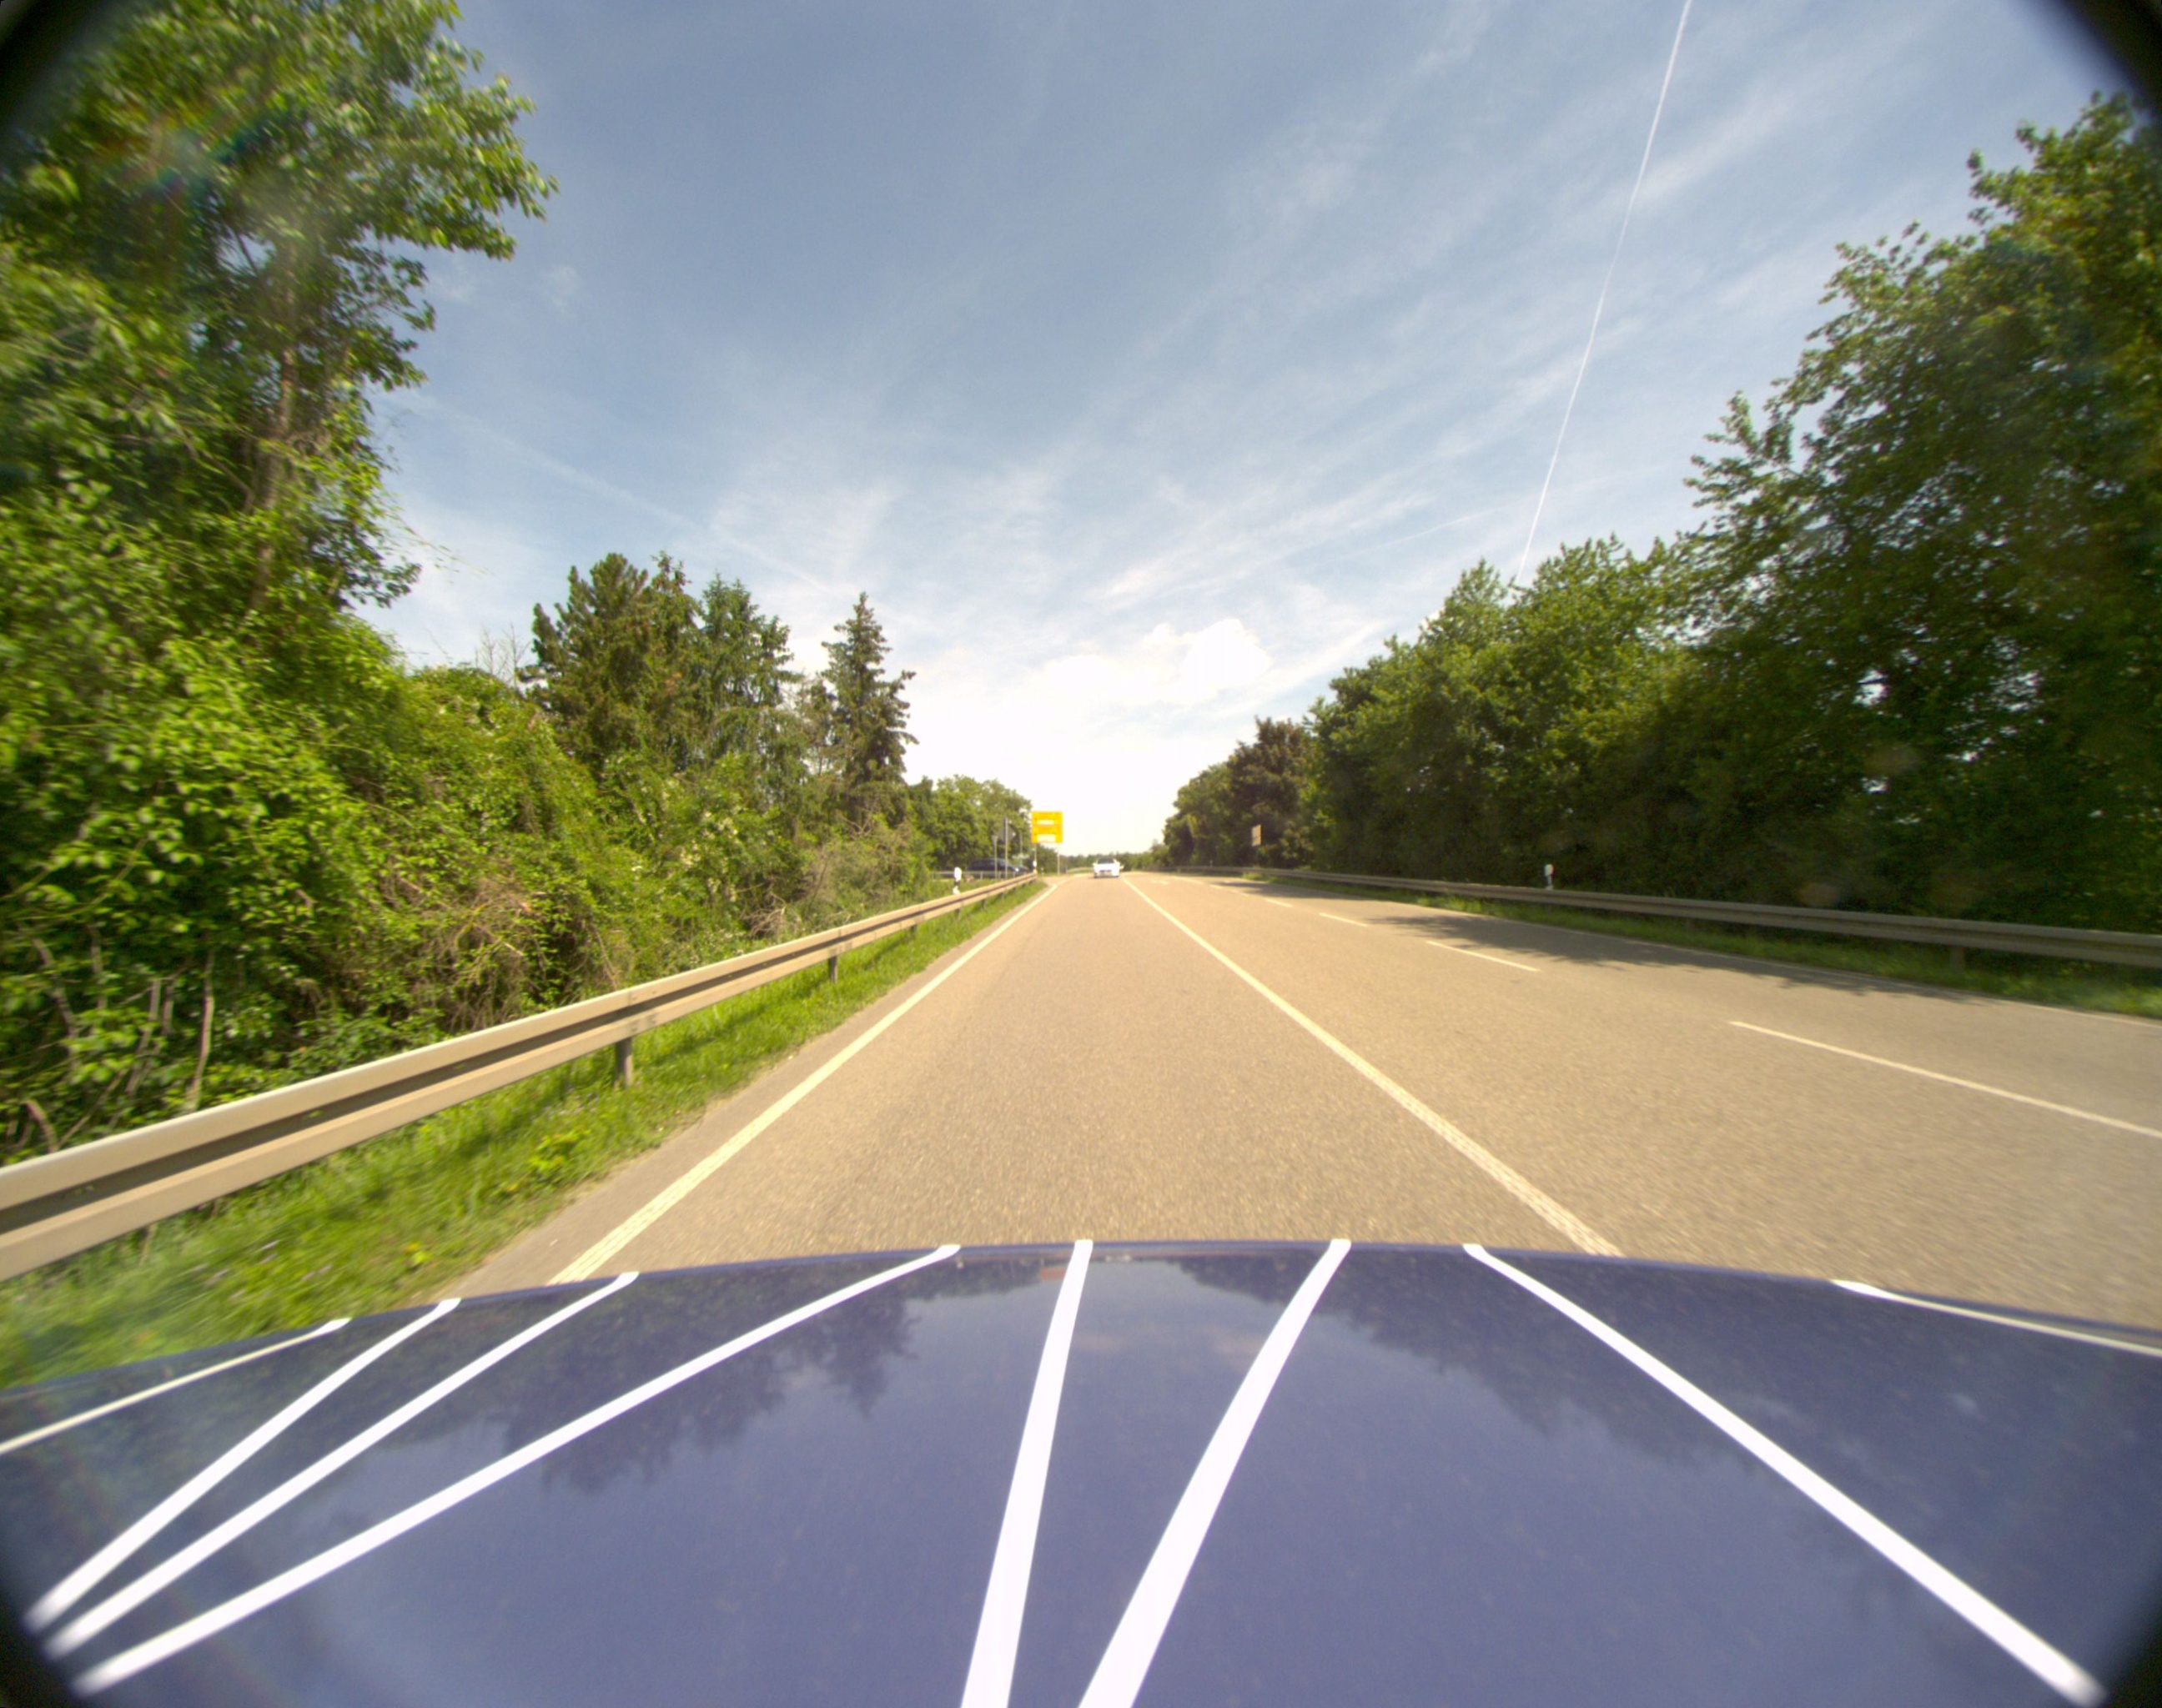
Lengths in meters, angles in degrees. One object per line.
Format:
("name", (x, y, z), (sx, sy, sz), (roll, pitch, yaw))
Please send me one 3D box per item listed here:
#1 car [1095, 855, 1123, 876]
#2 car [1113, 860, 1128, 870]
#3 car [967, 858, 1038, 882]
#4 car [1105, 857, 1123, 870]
("car", (2.046, 0.822, 56.250), (1.929, 1.441, 4.535), (-1, 0, 1))
("car", (5.737, 1.624, 110.902), (1.929, 1.441, 4.077), (0, -1, 0))
("car", (-5.361, 1.096, 51.834), (4.418, 1.580, 2.068), (-2, 0, 28))
("car", (3.851, 1.112, 88.038), (1.929, 1.441, 4.001), (0, 0, 3))
